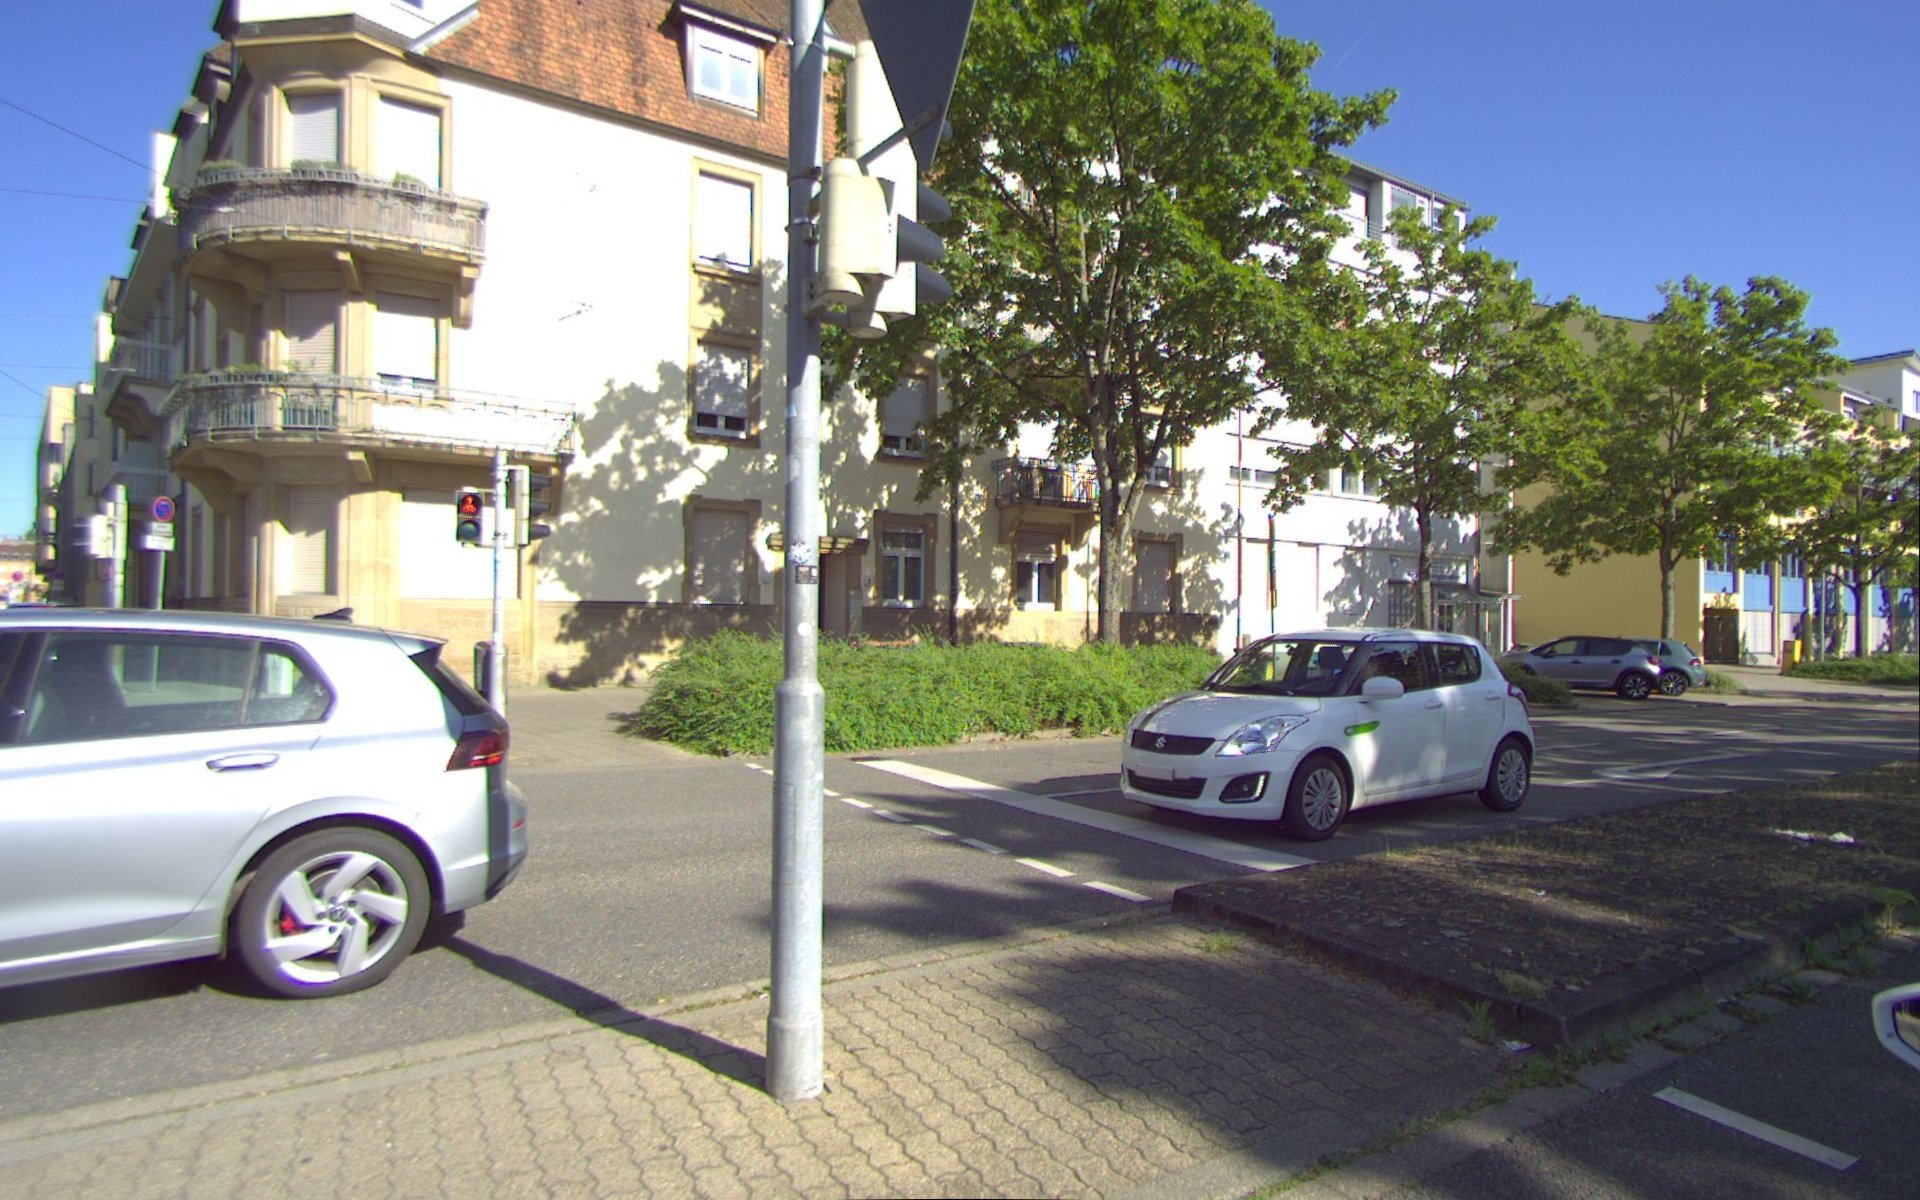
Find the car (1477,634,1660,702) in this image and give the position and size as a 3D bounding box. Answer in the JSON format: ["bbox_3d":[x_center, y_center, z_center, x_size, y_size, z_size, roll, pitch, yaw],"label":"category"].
[{"bbox_3d":[15.320,1.673,25.538,3.813,1.530,1.827,1,-1,26],"label":"car"}]

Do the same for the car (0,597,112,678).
[{"bbox_3d":[-21.608,0.860,23.956,1.948,1.747,4.122,2,-2,-42],"label":"car"}]

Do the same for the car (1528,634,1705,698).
[{"bbox_3d":[17.730,1.748,27.341,3.814,1.530,1.826,1,-1,27],"label":"car"}]

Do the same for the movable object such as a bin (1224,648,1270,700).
[{"bbox_3d":[5.287,1.353,18.494,0.629,0.925,0.513,1,0,-22],"label":"movable object such as a bin"}]

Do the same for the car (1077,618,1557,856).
[{"bbox_3d":[2.986,0.959,8.232,3.819,1.532,1.696,1,-3,-32],"label":"car"}]

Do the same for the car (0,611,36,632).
[{"bbox_3d":[-66.115,1.491,70.502,1.789,1.381,3.668,0,0,-41],"label":"car"}]

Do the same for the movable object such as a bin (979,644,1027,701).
[{"bbox_3d":[0.804,1.356,18.969,0.629,1.013,0.781,1,0,-22],"label":"movable object such as a bin"}]

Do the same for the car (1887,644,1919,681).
[{"bbox_3d":[42.603,2.672,42.755,4.347,1.573,1.916,-1,-2,34],"label":"car"}]

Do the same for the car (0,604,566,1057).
[{"bbox_3d":[-3.724,0.756,3.891,3.811,1.471,1.697,2,-2,-34],"label":"car"}]
